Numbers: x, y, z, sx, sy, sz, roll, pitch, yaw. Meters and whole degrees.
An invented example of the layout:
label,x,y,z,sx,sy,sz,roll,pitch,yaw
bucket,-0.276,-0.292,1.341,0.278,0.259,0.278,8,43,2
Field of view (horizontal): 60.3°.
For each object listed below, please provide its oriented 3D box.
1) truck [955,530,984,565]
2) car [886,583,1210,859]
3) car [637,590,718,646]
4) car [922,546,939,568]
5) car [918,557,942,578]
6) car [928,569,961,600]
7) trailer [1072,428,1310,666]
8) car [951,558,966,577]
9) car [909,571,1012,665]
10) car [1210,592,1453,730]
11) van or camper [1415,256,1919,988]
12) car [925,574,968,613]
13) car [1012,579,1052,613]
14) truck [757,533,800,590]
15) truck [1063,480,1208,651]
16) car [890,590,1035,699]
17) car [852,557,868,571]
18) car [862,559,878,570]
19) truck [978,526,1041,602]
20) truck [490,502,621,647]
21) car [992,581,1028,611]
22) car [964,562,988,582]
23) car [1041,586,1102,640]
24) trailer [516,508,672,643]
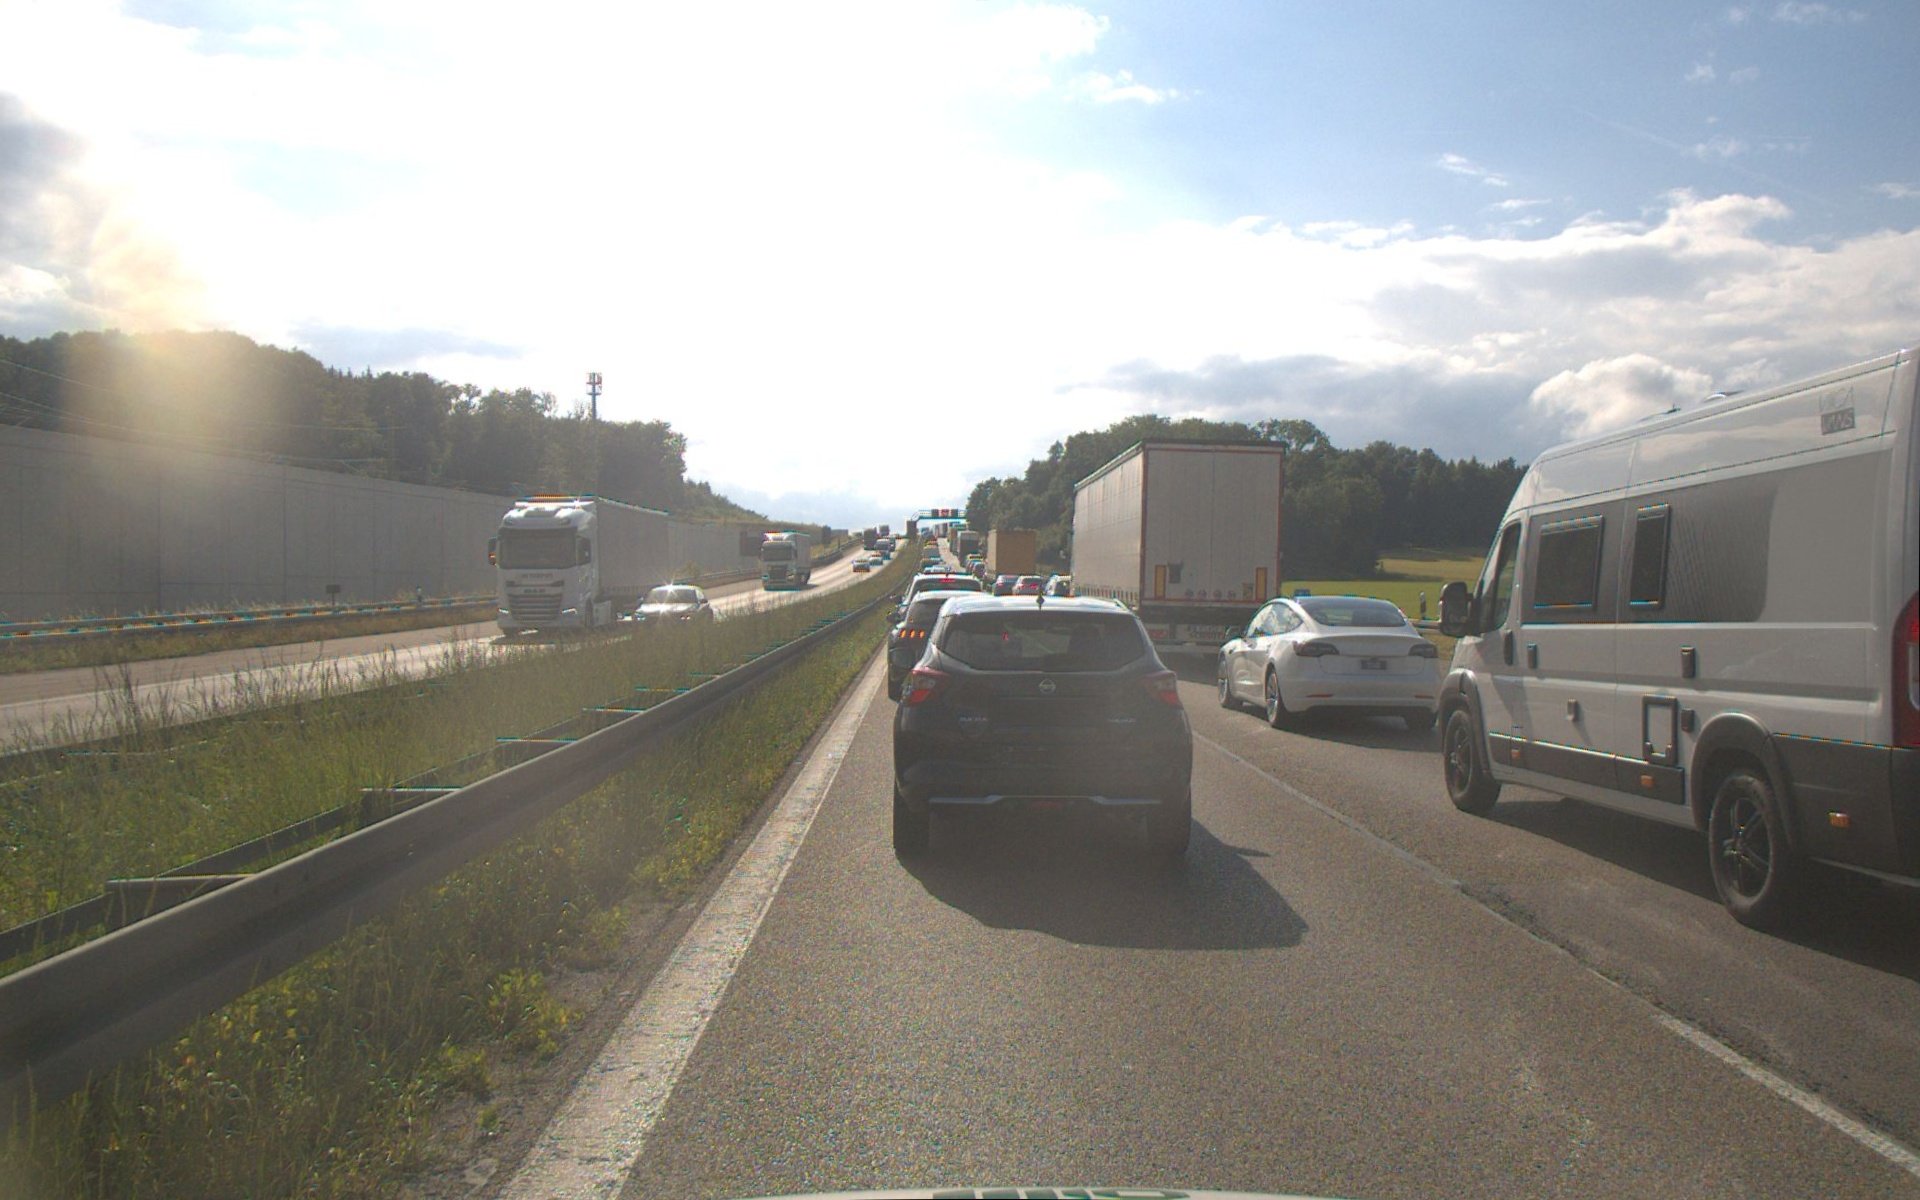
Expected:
label,x,y,z,sx,sy,sz,roll,pitch,yaw
truck,1.325,-7.403,233.809,3.395,4.656,12.437,1,2,-2
car,0.441,0.633,10.964,1.737,1.476,4.231,0,0,-1
car,-7.592,0.455,44.696,1.600,1.425,3.895,0,0,-2
car,-3.199,-4.679,178.687,1.835,2.195,5.211,0,3,-1
car,-2.453,-2.662,134.809,1.836,1.672,4.231,0,2,-2
car,-0.919,-0.895,94.221,1.835,1.672,4.232,0,2,-1
trailer,4.457,-0.869,35.335,3.067,4.081,13.364,1,-1,-1
car,-0.179,-4.082,208.072,1.835,2.195,5.211,0,3,-1
car,-0.018,0.303,31.496,1.835,1.673,4.231,0,0,-1
car,4.237,0.625,19.575,1.752,1.418,4.435,0,1,-2
van or camper,4.591,0.063,9.351,2.170,2.728,6.331,0,0,-1
car,-0.620,-0.310,73.653,1.835,1.673,4.232,0,1,-1
car,3.701,-0.239,86.088,1.835,1.673,4.232,0,1,-1
truck,-13.761,-2.904,125.715,2.720,4.159,5.530,-2,0,-1
truck,4.399,-0.807,42.492,3.070,4.086,5.162,1,0,-1
car,0.004,0.546,23.107,1.835,1.381,4.231,0,0,-1
car,-11.122,-4.022,183.304,1.618,1.476,3.955,0,0,-1
car,-11.683,-4.595,214.381,1.835,1.476,4.231,0,0,-1
truck,3.129,-2.203,108.802,3.231,4.657,12.434,1,0,-2
truck,-12.255,-0.763,50.556,2.631,4.139,5.878,-1,0,-1
car,2.862,-0.243,95.449,1.835,1.673,4.232,0,1,-1
car,1.442,-2.568,151.226,1.836,1.672,4.229,0,2,-4
car,3.519,0.381,52.817,1.663,1.639,4.437,0,0,0
trailer,-12.387,-0.798,57.452,2.629,4.108,13.788,-1,0,-1
